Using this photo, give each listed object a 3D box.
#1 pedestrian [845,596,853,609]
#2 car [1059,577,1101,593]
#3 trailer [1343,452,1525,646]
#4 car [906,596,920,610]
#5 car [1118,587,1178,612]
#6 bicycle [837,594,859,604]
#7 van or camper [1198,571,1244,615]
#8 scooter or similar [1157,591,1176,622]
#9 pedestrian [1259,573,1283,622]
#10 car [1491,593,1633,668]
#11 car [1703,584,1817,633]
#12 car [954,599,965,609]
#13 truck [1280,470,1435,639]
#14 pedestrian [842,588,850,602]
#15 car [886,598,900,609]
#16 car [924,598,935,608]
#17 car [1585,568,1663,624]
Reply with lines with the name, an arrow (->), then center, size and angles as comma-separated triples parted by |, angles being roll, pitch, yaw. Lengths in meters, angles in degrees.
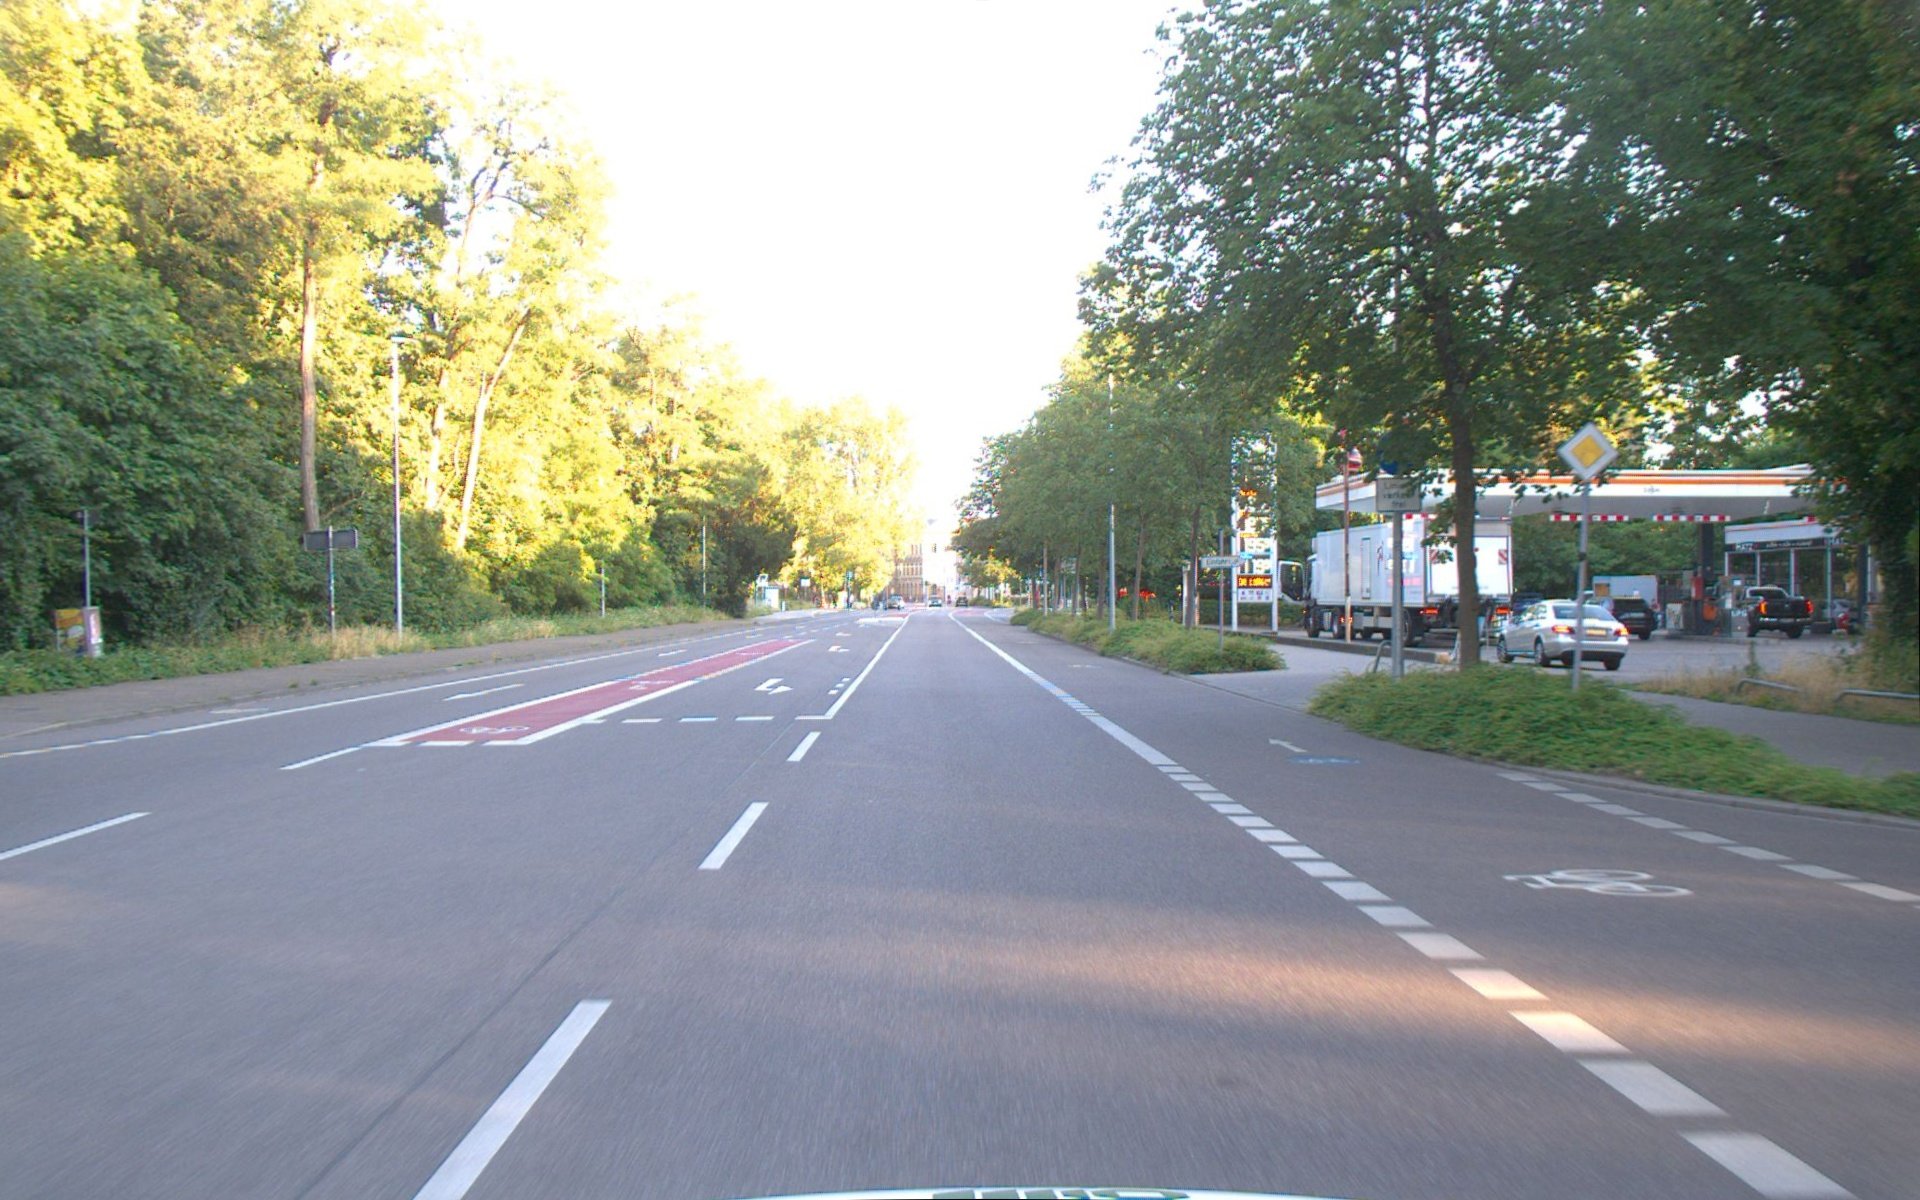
pedestrian -> -13.144, 0.289, 195.539 | 0.774, 1.608, 0.746 | 1, 0, 8
car -> 12.468, -1.533, 171.707 | 4.364, 1.618, 1.716 | 0, 0, 6
trailer -> 14.512, -1.492, 51.382 | 2.960, 5.557, 7.929 | 0, 0, -4
car -> -5.388, 0.350, 189.649 | 1.462, 1.512, 3.490 | 0, 0, 0
car -> 15.331, -0.008, 134.839 | 4.806, 2.024, 1.923 | 0, 0, 6
bicycle -> -12.804, -0.125, 188.515 | 2.410, 1.216, 0.757 | 0, 0, 8
van or camper -> 20.679, -0.518, 131.358 | 3.364, 3.255, 8.238 | 2, 0, 9
scooter or similar -> 8.692, 0.281, 69.603 | 0.585, 1.304, 1.468 | 0, 0, -1
pedestrian -> 11.736, -0.089, 62.444 | 0.741, 1.829, 0.707 | 1, 0, 2
car -> 14.019, 0.673, 38.805 | 1.733, 1.611, 4.820 | 1, 0, 2
car -> 28.405, 0.286, 58.873 | 1.946, 1.611, 4.623 | 1, 0, 2
car -> -0.075, 0.550, 235.096 | 1.462, 1.512, 3.490 | 0, 0, 0
truck -> 13.999, -1.545, 59.007 | 2.973, 5.551, 8.403 | -1, 0, -4
pedestrian -> -13.010, -0.561, 188.461 | 0.774, 1.608, 0.746 | 1, 0, 8
car -> -7.524, 0.383, 185.546 | 1.462, 1.314, 3.490 | 0, 0, 0
car -> -4.322, 0.434, 235.479 | 1.462, 1.512, 3.490 | 0, 0, 0
car -> 29.637, -0.188, 73.981 | 1.733, 2.388, 4.623 | 1, 0, 2
